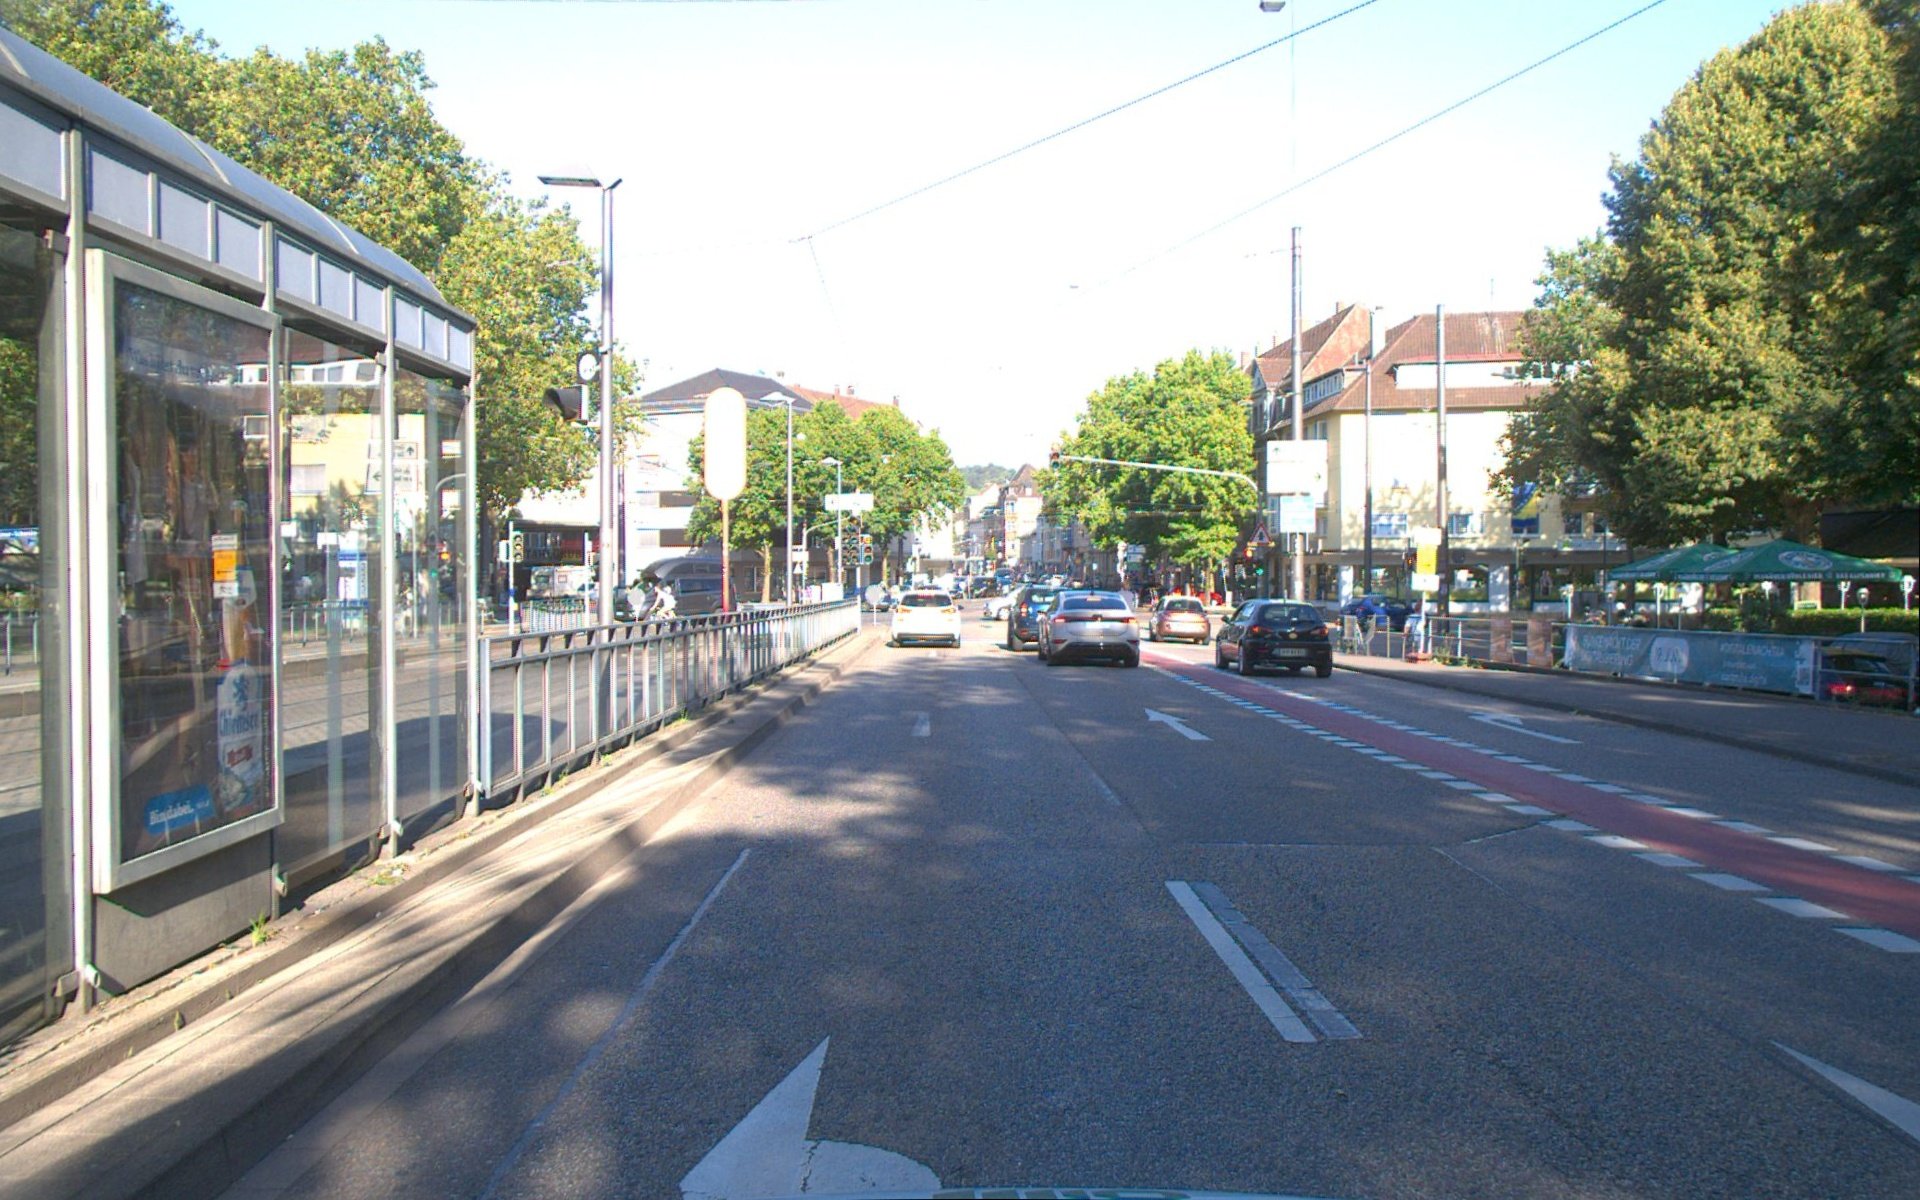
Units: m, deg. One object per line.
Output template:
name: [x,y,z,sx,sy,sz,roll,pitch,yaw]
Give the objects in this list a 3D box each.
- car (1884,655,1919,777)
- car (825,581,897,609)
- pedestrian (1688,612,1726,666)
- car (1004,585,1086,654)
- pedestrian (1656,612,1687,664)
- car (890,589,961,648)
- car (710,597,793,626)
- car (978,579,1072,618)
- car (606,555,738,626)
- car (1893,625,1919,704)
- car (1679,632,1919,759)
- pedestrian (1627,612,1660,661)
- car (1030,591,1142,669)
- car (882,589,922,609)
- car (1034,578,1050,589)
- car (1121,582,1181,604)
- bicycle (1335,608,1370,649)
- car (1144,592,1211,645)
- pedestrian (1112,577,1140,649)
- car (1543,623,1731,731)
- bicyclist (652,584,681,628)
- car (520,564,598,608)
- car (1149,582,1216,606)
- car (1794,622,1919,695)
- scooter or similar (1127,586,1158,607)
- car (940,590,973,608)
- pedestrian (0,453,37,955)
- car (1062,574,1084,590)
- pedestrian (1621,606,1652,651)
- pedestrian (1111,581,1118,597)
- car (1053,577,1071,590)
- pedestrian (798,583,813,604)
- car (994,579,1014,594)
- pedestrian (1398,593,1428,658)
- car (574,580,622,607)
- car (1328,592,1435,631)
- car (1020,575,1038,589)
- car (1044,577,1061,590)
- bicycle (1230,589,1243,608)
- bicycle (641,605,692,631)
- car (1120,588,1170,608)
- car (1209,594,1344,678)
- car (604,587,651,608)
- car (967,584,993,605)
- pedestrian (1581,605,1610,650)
car: [13.663,1.555,20.604,1.758,1.606,4.441,1,0,-1]
car: [-5.661,-0.302,94.267,3.924,1.537,1.791,0,0,39]
pedestrian: [19.316,1.008,42.754,0.635,1.361,0.632,2,0,-1]
car: [2.105,0.448,41.811,1.764,1.666,4.044,0,0,-2]
pedestrian: [19.133,1.018,44.467,0.636,1.361,0.631,3,0,29]
car: [-0.915,0.457,43.596,1.771,1.478,3.999,1,0,-2]
car: [-8.829,0.506,70.174,2.886,1.183,2.043,1,-1,-41]
car: [2.997,-0.087,76.153,4.069,1.722,1.818,1,0,-8]
car: [-11.697,-0.347,67.469,4.986,2.791,2.043,1,-1,-42]
car: [20.756,1.248,33.725,3.963,1.505,1.774,-2,2,-40]
car: [13.673,1.479,26.853,1.760,1.834,4.204,1,0,-8]
pedestrian: [19.777,1.048,47.870,0.635,1.361,0.632,2,0,-1]
car: [2.564,0.571,34.705,1.890,1.498,4.854,0,0,-1]
car: [-4.565,-0.099,130.329,1.689,1.537,3.874,0,0,24]
car: [10.894,-2.183,220.256,1.758,1.549,3.999,0,0,-1]
car: [13.431,-0.480,116.361,3.911,1.536,1.797,0,0,-7]
bicycle: [10.684,0.773,45.046,0.488,1.093,1.800,1,0,-1]
car: [6.925,0.555,53.048,1.757,1.536,4.002,0,1,2]
pedestrian: [4.375,0.336,43.643,0.643,1.903,0.677,0,0,-1]
car: [13.265,1.460,32.700,1.758,1.931,4.356,1,0,-3]
bicyclist: [-9.565,0.193,53.869,0.783,1.439,0.528,0,0,15]
car: [-30.405,-1.071,125.641,2.445,3.220,6.535,0,0,22]
car: [14.245,-0.397,106.042,3.914,1.536,1.796,0,0,-10]
car: [20.331,1.256,36.735,3.960,1.371,1.755,-2,2,-38]
scooter or similar: [11.031,-0.217,100.021,1.915,1.303,0.550,0,0,41]
car: [-0.289,-0.086,144.453,1.756,1.537,4.002,0,0,18]
pedestrian: [-3.563,0.352,5.533,0.583,1.707,0.590,1,0,4]
car: [12.831,-2.031,188.363,2.062,1.807,4.340,0,0,-1]
pedestrian: [21.141,0.879,51.685,0.635,1.361,0.632,2,0,-1]
pedestrian: [16.776,-1.166,179.677,0.634,1.680,0.651,1,-1,10]
car: [12.040,-1.946,194.877,1.758,1.536,3.999,0,0,-1]
pedestrian: [-11.524,-0.474,123.148,0.786,1.510,0.862,0,0,25]
car: [4.432,-1.358,166.583,1.758,1.536,3.999,0,0,-2]
pedestrian: [11.394,0.645,41.623,0.634,1.590,0.632,2,0,18]
car: [-27.244,-0.484,124.675,1.756,1.990,4.002,0,0,18]
car: [17.016,0.465,66.787,3.928,1.537,1.790,0,0,-20]
car: [10.199,-2.640,245.264,2.280,2.049,4.975,0,0,-1]
car: [11.276,-2.012,201.024,1.758,1.536,3.999,0,0,-1]
bicycle: [16.705,-0.078,99.978,0.596,1.127,1.801,0,0,4]
bicycle: [-9.566,0.580,53.870,1.577,0.830,0.528,0,0,15]
car: [14.626,-0.175,130.594,3.968,1.536,1.772,-1,1,-43]
car: [6.044,0.653,32.007,1.763,1.464,4.044,1,0,-1]
car: [-24.856,-0.232,123.842,1.756,1.536,4.012,0,0,18]
car: [1.836,-0.492,151.924,1.756,1.858,4.004,0,0,9]
pedestrian: [20.220,0.871,52.636,0.635,1.361,0.632,2,0,-1]
